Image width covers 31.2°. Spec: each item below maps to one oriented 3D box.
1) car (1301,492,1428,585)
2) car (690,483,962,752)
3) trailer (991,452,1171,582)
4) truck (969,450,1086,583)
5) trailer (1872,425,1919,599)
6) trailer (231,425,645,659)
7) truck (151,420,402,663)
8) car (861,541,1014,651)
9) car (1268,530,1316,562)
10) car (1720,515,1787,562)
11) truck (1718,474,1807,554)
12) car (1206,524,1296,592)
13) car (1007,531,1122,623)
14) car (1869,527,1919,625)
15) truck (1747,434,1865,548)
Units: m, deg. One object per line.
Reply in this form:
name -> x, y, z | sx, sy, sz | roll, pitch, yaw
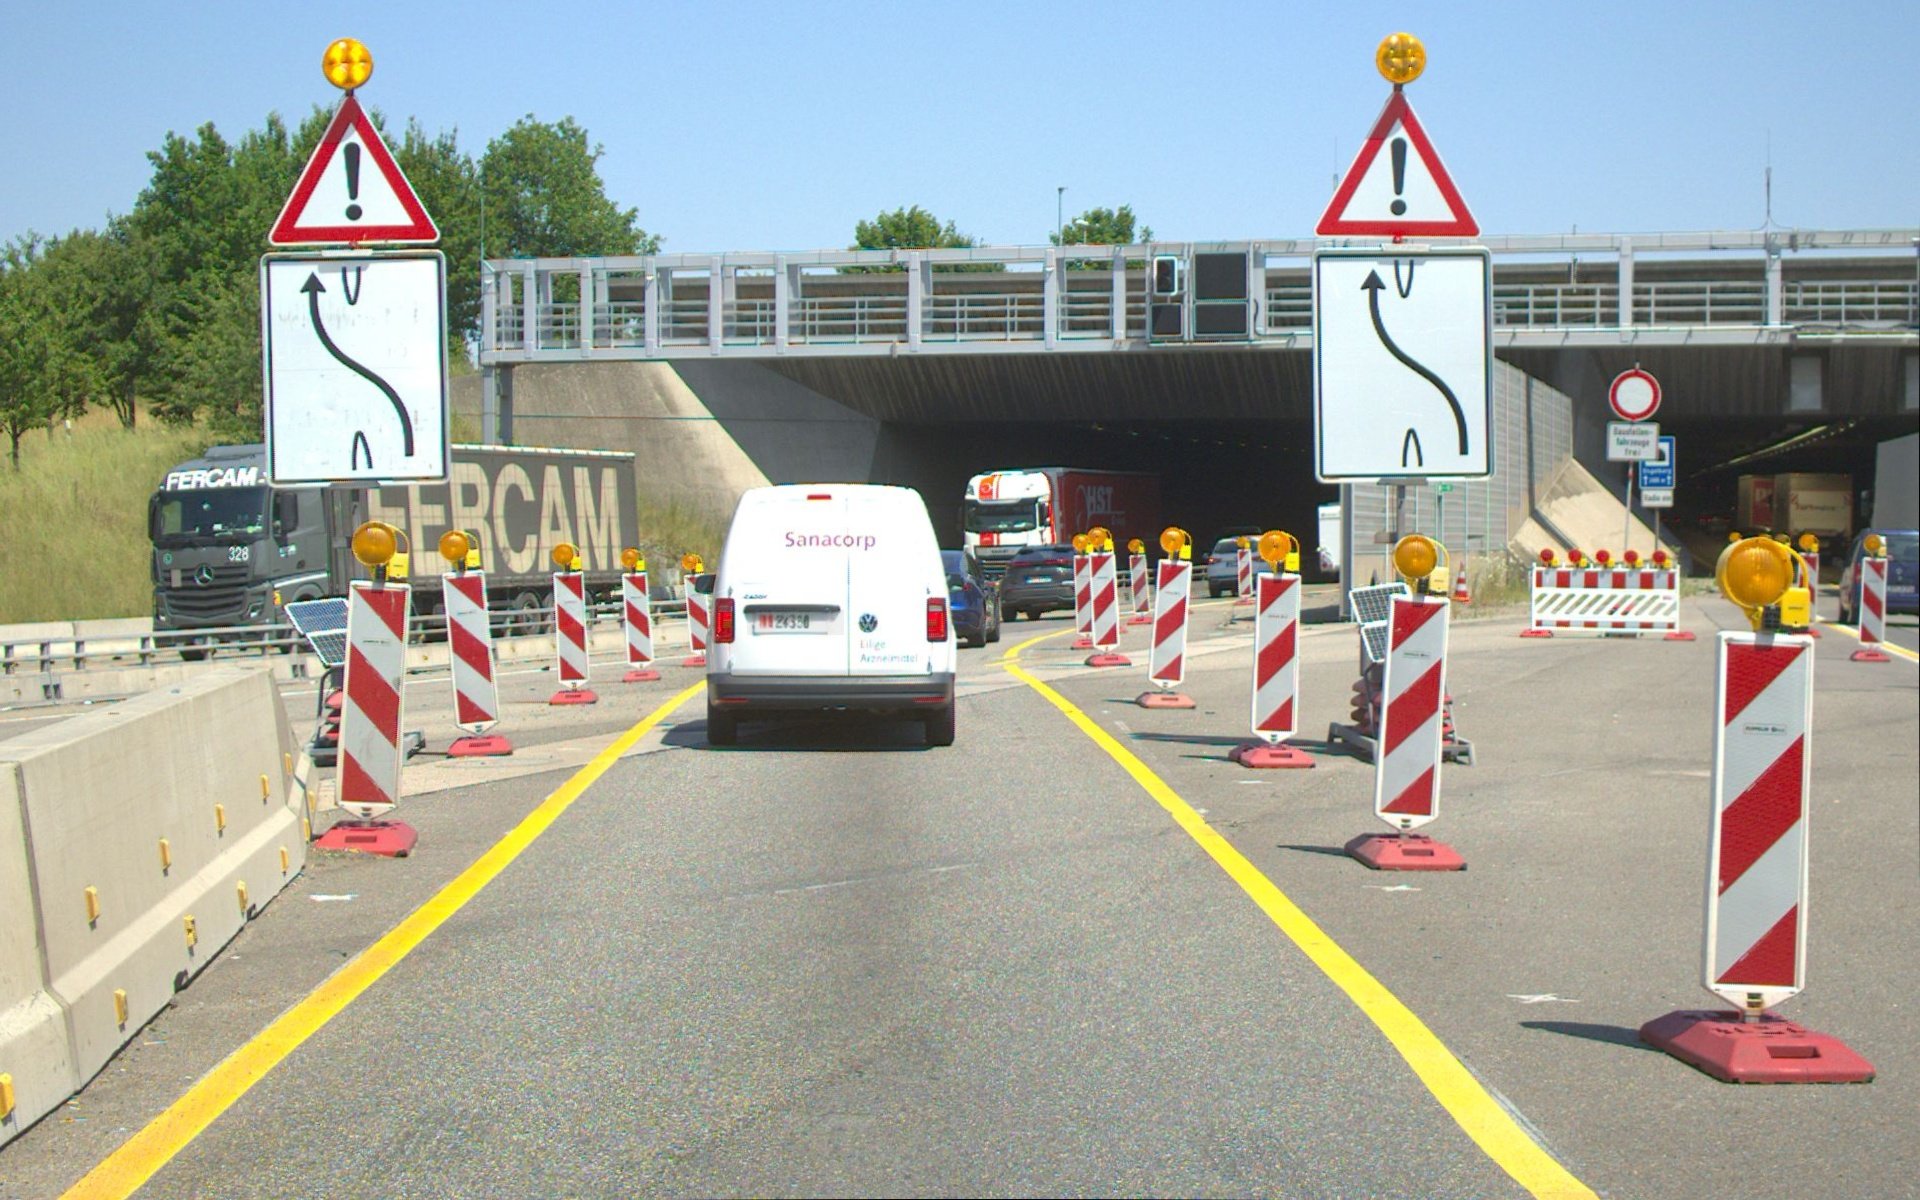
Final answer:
car -> 12.892, -1.925, 109.112 | 2.816, 2.764, 7.095 | 1, 0, 16
car -> -0.903, 0.093, 24.969 | 1.808, 1.788, 3.731 | -1, 1, 0
trailer -> 4.213, -2.730, 115.317 | 2.340, 4.088, 13.250 | -1, 1, 18
truck -> 2.184, -2.635, 109.140 | 2.336, 4.094, 5.013 | -1, 1, 18
trailer -> 24.852, -2.053, 86.183 | 2.734, 4.048, 14.088 | 2, 1, 11
trailer -> -10.242, -1.175, 69.926 | 2.438, 4.282, 13.798 | 0, 1, 18
truck -> -12.449, -1.061, 63.010 | 2.433, 4.255, 4.834 | 0, 1, 18
car -> -0.284, -0.089, 50.694 | 1.809, 1.532, 4.409 | -1, 1, 5
car -> 15.600, -2.518, 161.525 | 1.688, 1.390, 3.998 | -3, 0, 13
car -> 28.774, -2.204, 124.817 | 1.815, 1.624, 4.189 | 2, 1, 6
truck -> 44.048, -4.652, 189.170 | 3.403, 4.057, 16.530 | 2, 1, 9
car -> 7.826, -1.130, 92.152 | 1.809, 1.745, 4.407 | 0, 1, 13
car -> 2.190, -0.494, 70.844 | 1.809, 1.809, 4.408 | -1, 1, 9
car -> 17.006, -0.411, 60.454 | 1.816, 1.637, 4.650 | 2, 1, 14
truck -> 36.752, -4.640, 149.915 | 3.403, 4.320, 16.530 | 2, 0, 9
